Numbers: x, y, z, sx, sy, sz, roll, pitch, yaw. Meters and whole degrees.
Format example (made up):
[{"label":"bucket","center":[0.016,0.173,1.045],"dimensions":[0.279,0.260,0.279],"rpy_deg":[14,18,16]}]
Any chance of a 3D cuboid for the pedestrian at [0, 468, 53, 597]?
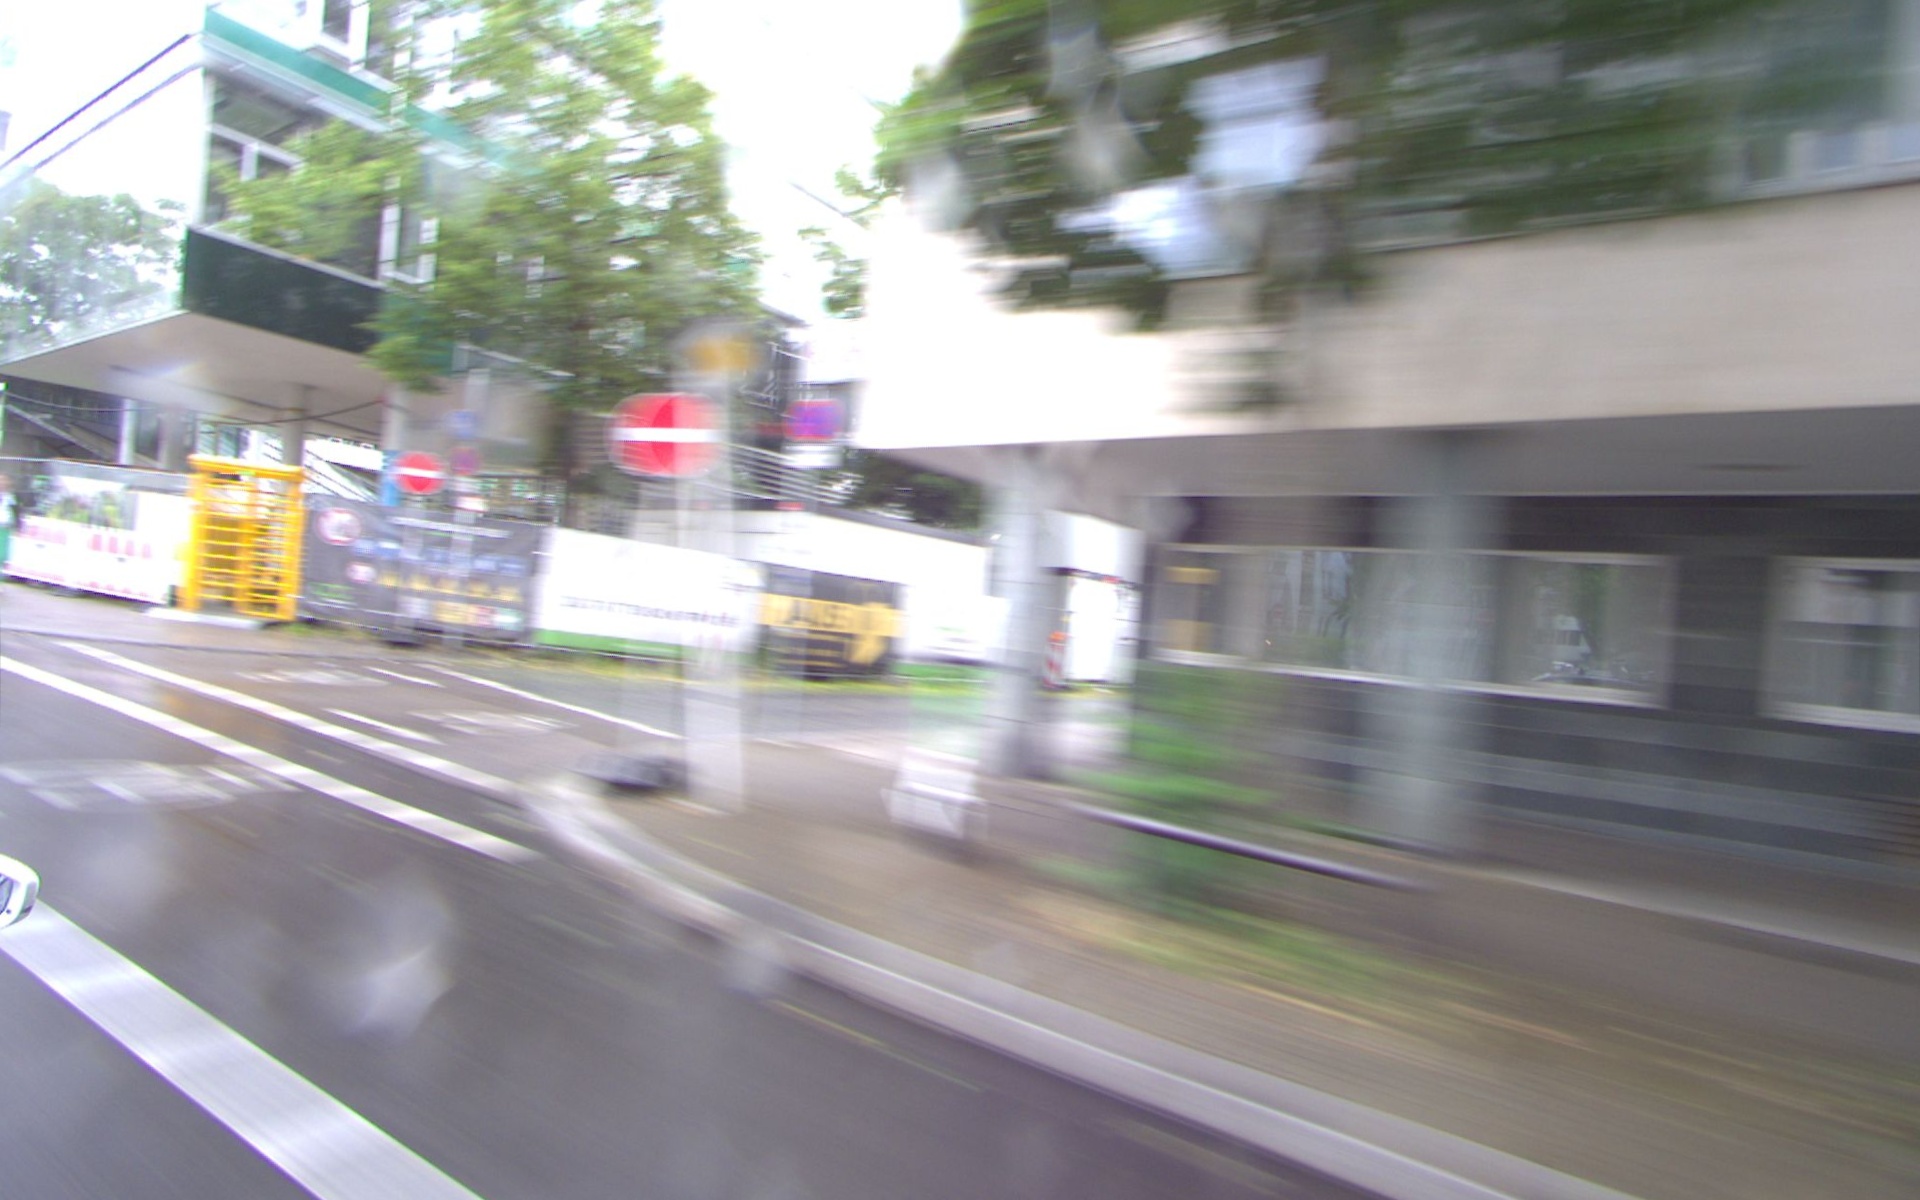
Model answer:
[{"label":"pedestrian","center":[-14.168,-1.025,14.863],"dimensions":[1.048,1.808,0.701],"rpy_deg":[7,1,28]}]
